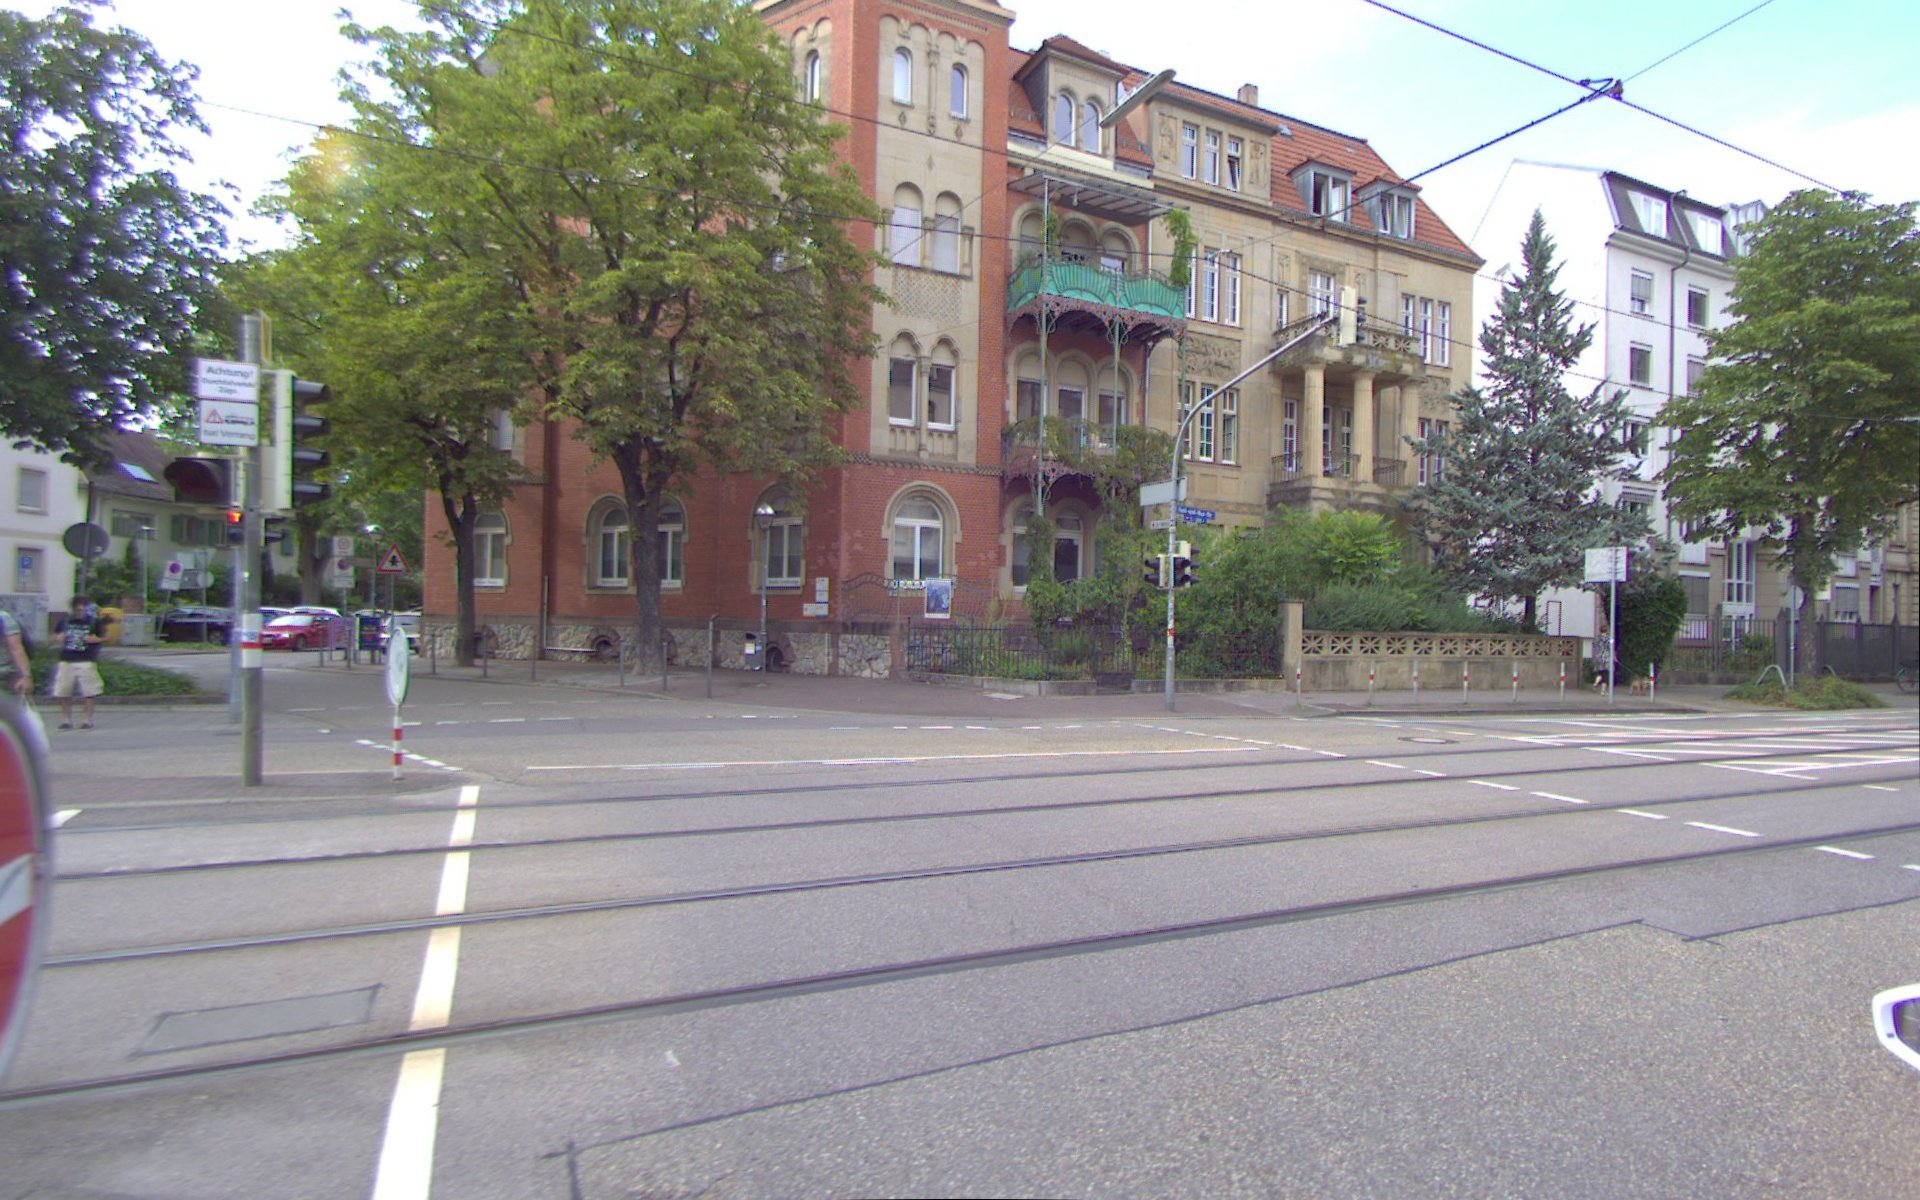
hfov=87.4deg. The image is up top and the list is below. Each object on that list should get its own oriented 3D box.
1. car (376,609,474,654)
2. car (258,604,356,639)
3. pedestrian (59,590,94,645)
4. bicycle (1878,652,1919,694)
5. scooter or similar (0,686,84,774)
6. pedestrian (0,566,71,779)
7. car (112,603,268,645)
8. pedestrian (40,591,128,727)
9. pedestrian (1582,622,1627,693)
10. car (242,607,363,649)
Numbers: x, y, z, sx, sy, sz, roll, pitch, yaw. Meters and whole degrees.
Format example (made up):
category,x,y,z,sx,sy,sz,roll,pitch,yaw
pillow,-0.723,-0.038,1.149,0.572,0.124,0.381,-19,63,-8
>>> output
category,x,y,z,sx,sy,sz,roll,pitch,yaw
car,-19.276,1.130,36.364,1.671,1.492,3.997,1,-1,-5
car,-28.434,0.924,43.890,1.670,1.423,4.000,1,-1,-1
pedestrian,-30.130,0.587,34.266,0.657,1.850,0.826,2,0,45
bicycle,28.543,2.173,29.493,2.197,1.191,0.833,2,0,32
scooter or similar,-8.347,1.132,8.876,0.591,0.721,0.671,-1,-3,5
pedestrian,-8.030,0.605,8.422,0.677,1.712,0.808,2,-4,-32
car,-28.669,0.904,37.526,4.229,1.423,1.909,1,-1,-4
pedestrian,-11.484,0.762,13.191,0.703,1.713,0.650,2,-1,-29
pedestrian,16.608,1.473,25.884,0.693,1.759,0.701,2,0,-30
car,-24.139,1.024,37.095,1.670,1.423,4.311,1,-1,-1
